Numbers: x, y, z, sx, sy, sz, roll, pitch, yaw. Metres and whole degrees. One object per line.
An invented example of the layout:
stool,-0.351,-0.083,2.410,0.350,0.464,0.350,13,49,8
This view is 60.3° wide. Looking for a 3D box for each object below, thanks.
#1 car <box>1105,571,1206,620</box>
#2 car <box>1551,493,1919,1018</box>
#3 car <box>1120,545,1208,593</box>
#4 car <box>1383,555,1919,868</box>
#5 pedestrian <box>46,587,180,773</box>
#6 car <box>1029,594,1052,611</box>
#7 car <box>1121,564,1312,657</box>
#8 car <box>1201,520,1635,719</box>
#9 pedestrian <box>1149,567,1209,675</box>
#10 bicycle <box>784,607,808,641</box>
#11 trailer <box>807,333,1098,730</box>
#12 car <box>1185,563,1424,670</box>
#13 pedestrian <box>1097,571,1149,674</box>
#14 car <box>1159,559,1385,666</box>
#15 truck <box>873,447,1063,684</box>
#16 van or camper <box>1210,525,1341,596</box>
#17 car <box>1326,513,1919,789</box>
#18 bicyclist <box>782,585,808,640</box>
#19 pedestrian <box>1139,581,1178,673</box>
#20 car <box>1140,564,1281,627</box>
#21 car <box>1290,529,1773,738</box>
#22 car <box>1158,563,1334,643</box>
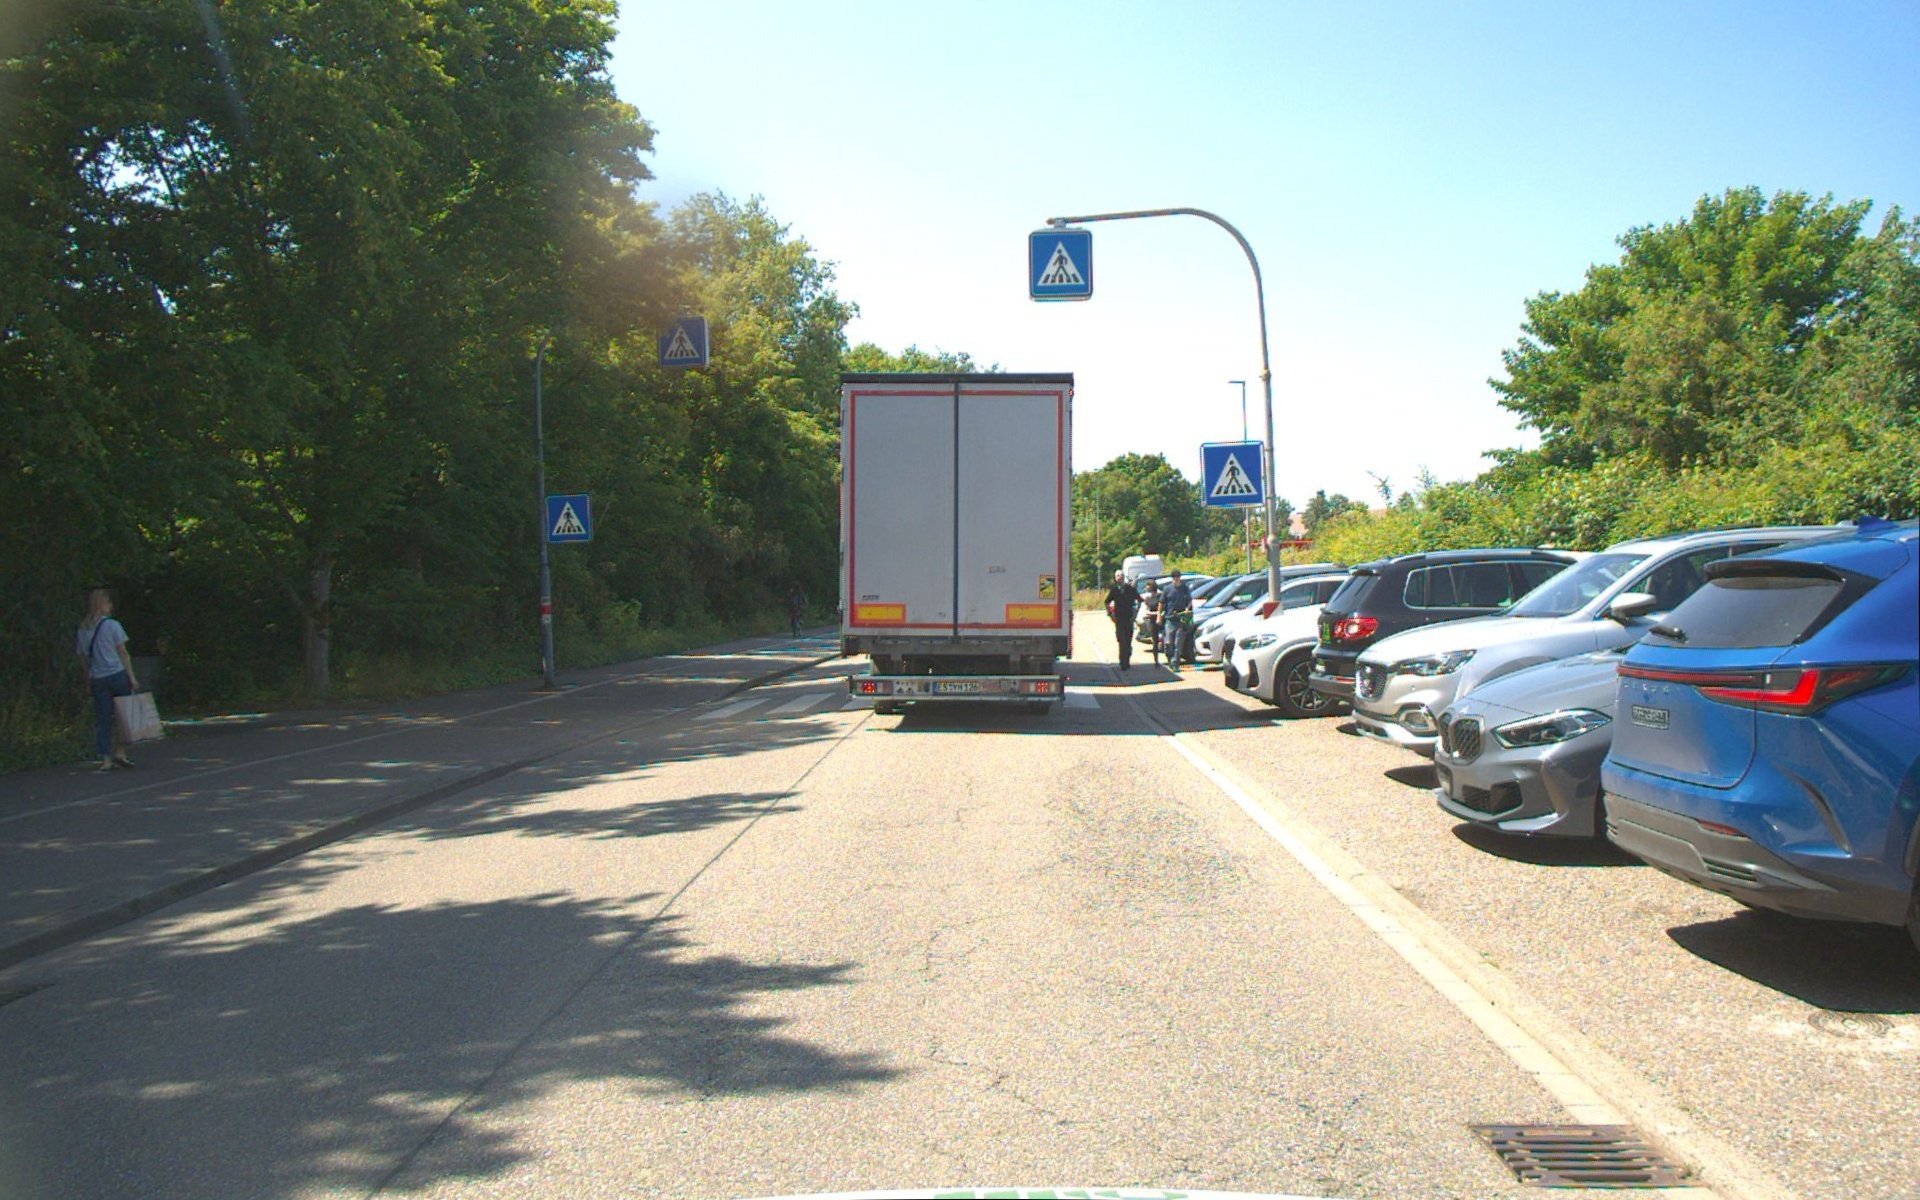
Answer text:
car,8.182,-0.197,69.526,3.878,1.697,1.812,-5,0,-3
car,4.702,0.348,6.300,4.153,1.662,1.823,-5,0,-1
car,9.490,-1.427,77.212,3.874,1.829,1.814,-5,-2,4
car,4.723,0.518,9.449,4.053,1.464,1.811,-3,0,-8
pedestrian,-7.767,0.711,15.195,0.811,1.651,0.783,-1,1,-2
car,7.931,0.231,162.689,1.743,1.512,4.004,-2,1,9
car,5.841,0.211,37.893,3.882,1.696,1.811,-5,3,-7
car,5.145,0.212,18.990,4.317,1.727,1.876,-6,0,-2
pedestrian,3.904,0.366,29.567,0.888,1.829,0.936,-5,0,6
bicycle,-5.451,0.777,55.054,0.444,1.065,2.204,-2,0,3
trailer,0.040,-0.756,23.259,3.048,4.174,11.538,0,0,1
car,6.024,0.279,29.293,3.874,1.505,1.815,-5,0,5
pedestrian,3.104,0.411,31.453,0.804,1.866,0.793,-5,0,6
car,6.009,0.237,32.149,3.880,1.697,1.812,-5,0,-5
truck,0.238,-0.591,29.997,3.049,3.790,6.415,-1,1,2
van or camper,17.618,-2.178,92.234,6.895,3.649,2.775,-2,0,15
car,5.034,0.337,12.228,4.150,1.682,1.899,-3,-1,-1
bicyclist,-5.474,0.398,54.967,0.701,1.789,0.796,-2,0,4
pedestrian,3.675,0.491,30.686,0.577,1.642,0.745,-5,0,6
car,7.604,-0.139,50.417,3.878,1.647,1.813,-4,0,-3
car,5.491,0.304,16.308,4.041,1.686,1.887,-4,0,1
car,7.105,0.080,41.318,3.882,1.613,1.811,-5,0,-7
